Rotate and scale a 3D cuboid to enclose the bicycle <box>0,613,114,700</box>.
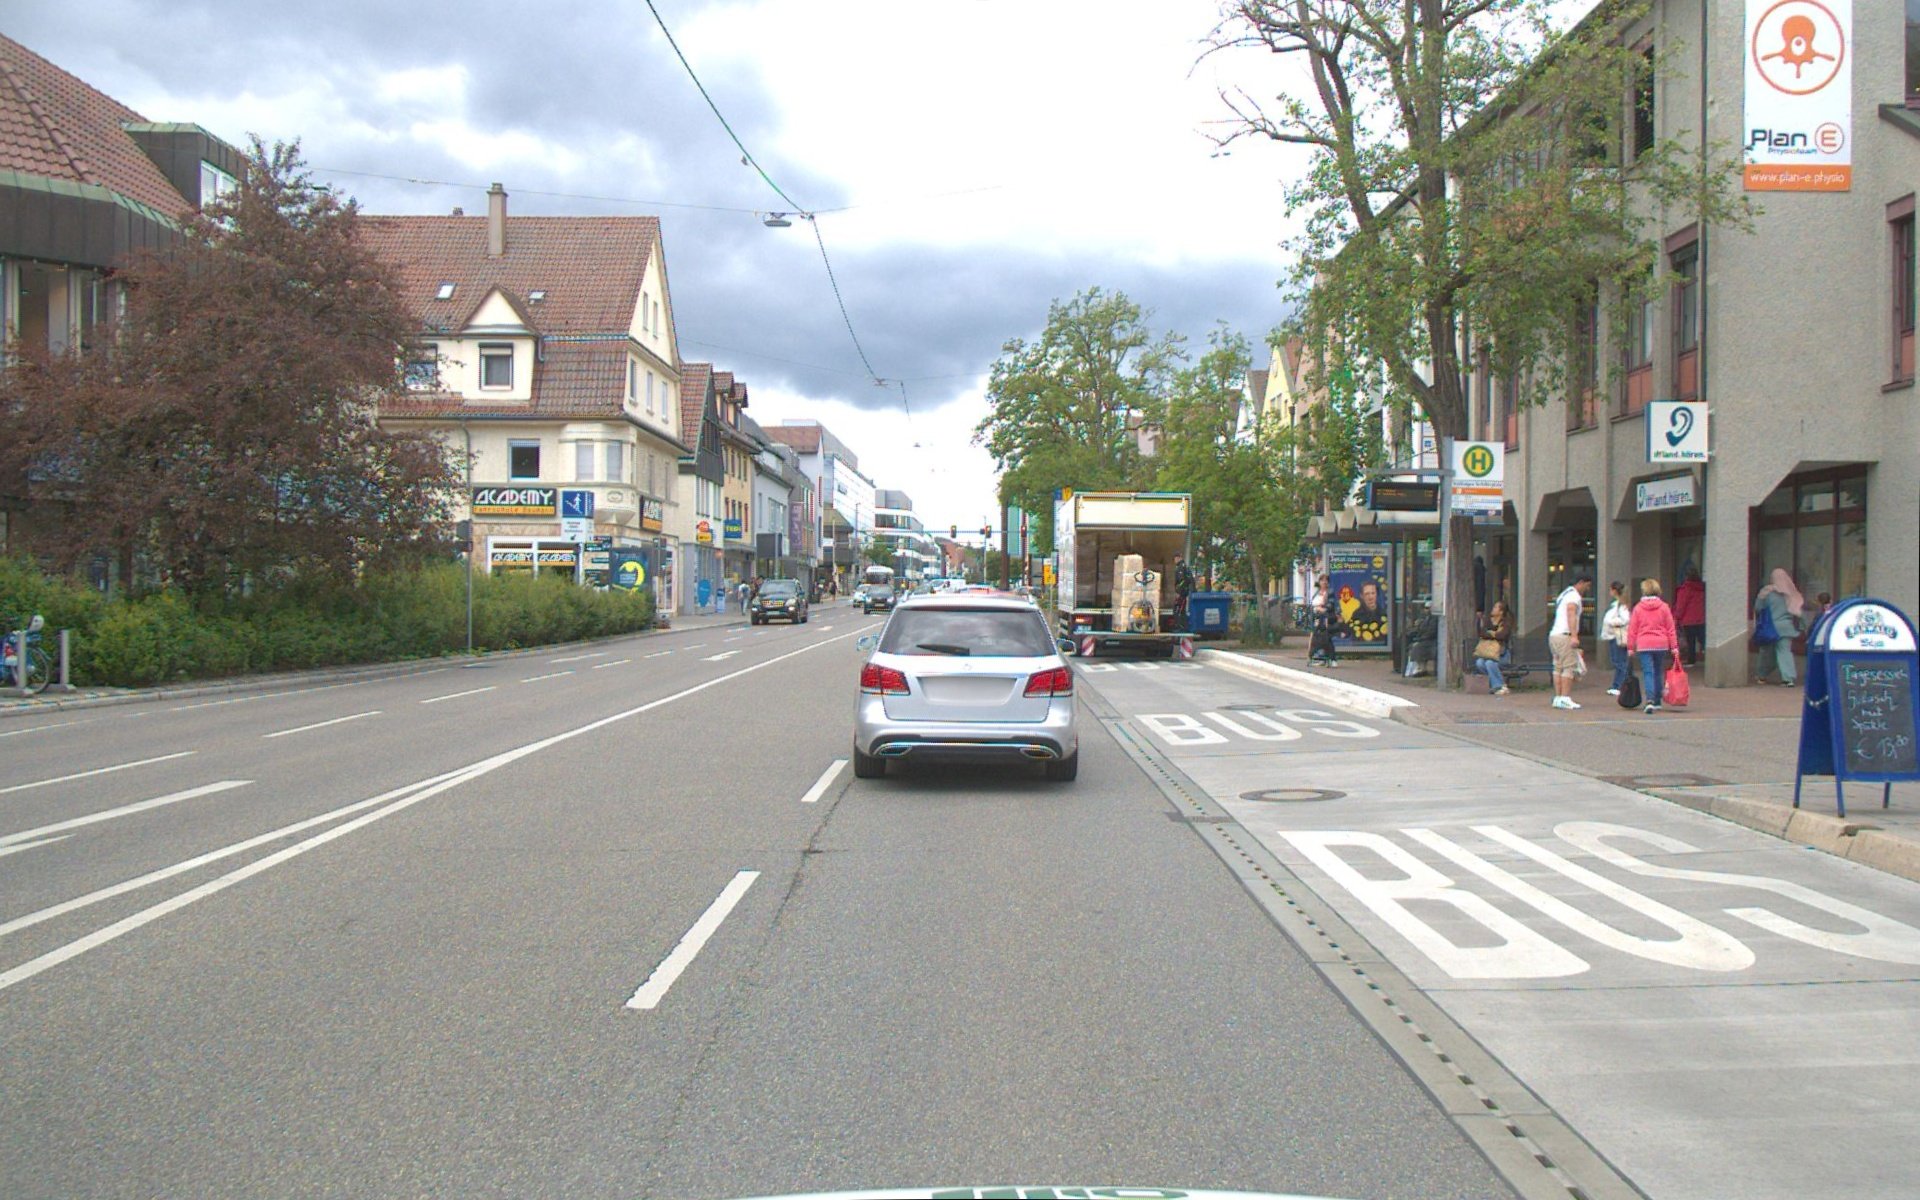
[{"bbox_3d":[-12.350,0.739,21.843,1.980,1.109,0.648,0,0,-9],"label":"bicycle"}]

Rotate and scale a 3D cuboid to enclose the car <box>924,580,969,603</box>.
[{"bbox_3d":[-1.210,-0.830,151.797,1.923,1.995,5.134,-1,0,28],"label":"car"}]

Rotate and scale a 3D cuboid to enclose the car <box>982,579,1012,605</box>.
[{"bbox_3d":[2.428,-0.528,107.992,1.952,1.713,4.001,0,0,1],"label":"car"}]

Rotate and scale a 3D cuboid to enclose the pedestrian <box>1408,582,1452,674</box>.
[{"bbox_3d":[7.427,0.437,26.163,0.600,1.425,0.588,-2,-1,14],"label":"pedestrian"}]

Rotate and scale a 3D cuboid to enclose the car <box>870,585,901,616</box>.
[{"bbox_3d":[-3.855,0.018,85.992,1.538,1.567,2.960,1,0,-2],"label":"car"}]

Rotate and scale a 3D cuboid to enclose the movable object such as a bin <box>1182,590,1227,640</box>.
[{"bbox_3d":[6.827,0.418,46.319,1.119,1.363,1.376,0,0,3],"label":"movable object such as a bin"}]

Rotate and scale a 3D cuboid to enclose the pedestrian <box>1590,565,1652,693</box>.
[{"bbox_3d":[8.750,0.379,21.897,0.600,1.663,0.588,1,0,5],"label":"pedestrian"}]

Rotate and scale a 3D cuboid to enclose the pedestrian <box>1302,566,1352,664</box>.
[{"bbox_3d":[6.377,0.260,28.770,0.527,1.663,0.584,3,1,-24],"label":"pedestrian"}]

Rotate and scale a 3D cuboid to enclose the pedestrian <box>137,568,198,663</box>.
[{"bbox_3d":[-15.645,0.294,32.663,0.710,1.794,0.756,4,1,5],"label":"pedestrian"}]

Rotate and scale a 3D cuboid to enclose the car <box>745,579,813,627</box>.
[{"bbox_3d":[-7.250,0.095,66.554,2.026,1.768,4.694,-2,0,2],"label":"car"}]

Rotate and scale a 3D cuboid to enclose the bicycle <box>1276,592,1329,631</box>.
[{"bbox_3d":[11.415,0.389,55.149,1.641,1.281,0.669,0,0,-3],"label":"bicycle"}]

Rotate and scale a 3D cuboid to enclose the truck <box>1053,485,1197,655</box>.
[{"bbox_3d":[3.780,-0.687,40.067,2.633,3.623,9.767,0,1,1],"label":"truck"}]

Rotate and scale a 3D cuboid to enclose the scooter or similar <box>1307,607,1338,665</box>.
[{"bbox_3d":[6.224,0.617,28.407,0.381,0.976,0.350,-1,0,-40],"label":"scooter or similar"}]

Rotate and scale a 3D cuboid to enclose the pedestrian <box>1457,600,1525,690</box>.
[{"bbox_3d":[7.251,0.608,22.609,0.698,1.186,0.587,1,1,-6],"label":"pedestrian"}]

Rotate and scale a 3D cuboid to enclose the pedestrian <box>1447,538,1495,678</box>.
[{"bbox_3d":[7.752,0.118,25.117,0.600,2.082,0.588,-2,-1,14],"label":"pedestrian"}]

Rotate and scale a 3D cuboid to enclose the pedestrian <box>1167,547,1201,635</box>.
[{"bbox_3d":[4.664,-0.186,34.464,0.601,1.811,0.587,0,-1,-3],"label":"pedestrian"}]

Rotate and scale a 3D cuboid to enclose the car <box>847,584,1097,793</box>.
[{"bbox_3d":[0.062,0.649,14.254,1.836,1.532,3.999,1,0,-1],"label":"car"}]

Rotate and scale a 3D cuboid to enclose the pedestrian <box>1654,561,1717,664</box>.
[{"bbox_3d":[11.884,0.204,27.106,0.712,1.663,0.614,0,0,-8],"label":"pedestrian"}]

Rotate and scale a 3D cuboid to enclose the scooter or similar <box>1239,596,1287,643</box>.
[{"bbox_3d":[7.897,0.502,43.122,1.154,1.217,0.459,0,0,-8],"label":"scooter or similar"}]

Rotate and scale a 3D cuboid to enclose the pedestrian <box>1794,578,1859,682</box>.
[{"bbox_3d":[11.965,0.405,22.853,0.574,1.399,0.615,1,0,3],"label":"pedestrian"}]

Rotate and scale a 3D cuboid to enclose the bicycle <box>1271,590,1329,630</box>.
[{"bbox_3d":[11.516,0.345,56.044,1.780,1.350,0.843,0,0,-3],"label":"bicycle"}]

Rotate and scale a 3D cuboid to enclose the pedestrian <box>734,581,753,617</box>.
[{"bbox_3d":[-10.413,-0.054,79.493,0.801,1.663,0.979,2,0,-5],"label":"pedestrian"}]

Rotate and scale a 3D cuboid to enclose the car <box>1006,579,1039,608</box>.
[{"bbox_3d":[3.742,-0.388,99.328,1.952,1.713,4.001,0,0,1],"label":"car"}]

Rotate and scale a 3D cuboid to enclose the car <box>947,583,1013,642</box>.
[{"bbox_3d":[0.630,0.354,50.696,1.952,1.713,4.001,0,0,1],"label":"car"}]

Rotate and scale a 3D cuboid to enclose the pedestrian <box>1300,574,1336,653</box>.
[{"bbox_3d":[8.215,0.312,37.975,0.601,1.770,0.588,3,1,-3],"label":"pedestrian"}]

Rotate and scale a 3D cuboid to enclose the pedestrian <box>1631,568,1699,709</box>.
[{"bbox_3d":[8.222,0.440,19.315,0.658,1.594,0.492,2,2,21],"label":"pedestrian"}]

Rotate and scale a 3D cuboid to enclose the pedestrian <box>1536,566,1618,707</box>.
[{"bbox_3d":[7.457,0.421,20.014,0.602,1.663,0.792,0,1,-12],"label":"pedestrian"}]

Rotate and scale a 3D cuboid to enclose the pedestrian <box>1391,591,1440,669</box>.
[{"bbox_3d":[7.561,0.490,27.467,0.685,1.254,0.588,-2,0,10],"label":"pedestrian"}]

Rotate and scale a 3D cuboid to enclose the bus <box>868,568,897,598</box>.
[{"bbox_3d":[-8.443,-1.869,181.101,2.718,3.220,5.934,0,0,1],"label":"bus"}]

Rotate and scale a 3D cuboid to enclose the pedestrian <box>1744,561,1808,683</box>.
[{"bbox_3d":[11.314,0.301,22.942,0.574,1.663,0.615,0,0,2],"label":"pedestrian"}]

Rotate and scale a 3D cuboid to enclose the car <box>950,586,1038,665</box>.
[{"bbox_3d":[0.705,0.504,34.468,1.718,1.547,4.000,0,0,1],"label":"car"}]

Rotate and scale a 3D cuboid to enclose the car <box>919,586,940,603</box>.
[{"bbox_3d":[-2.632,-0.472,142.647,1.583,1.453,3.923,-1,0,2],"label":"car"}]
